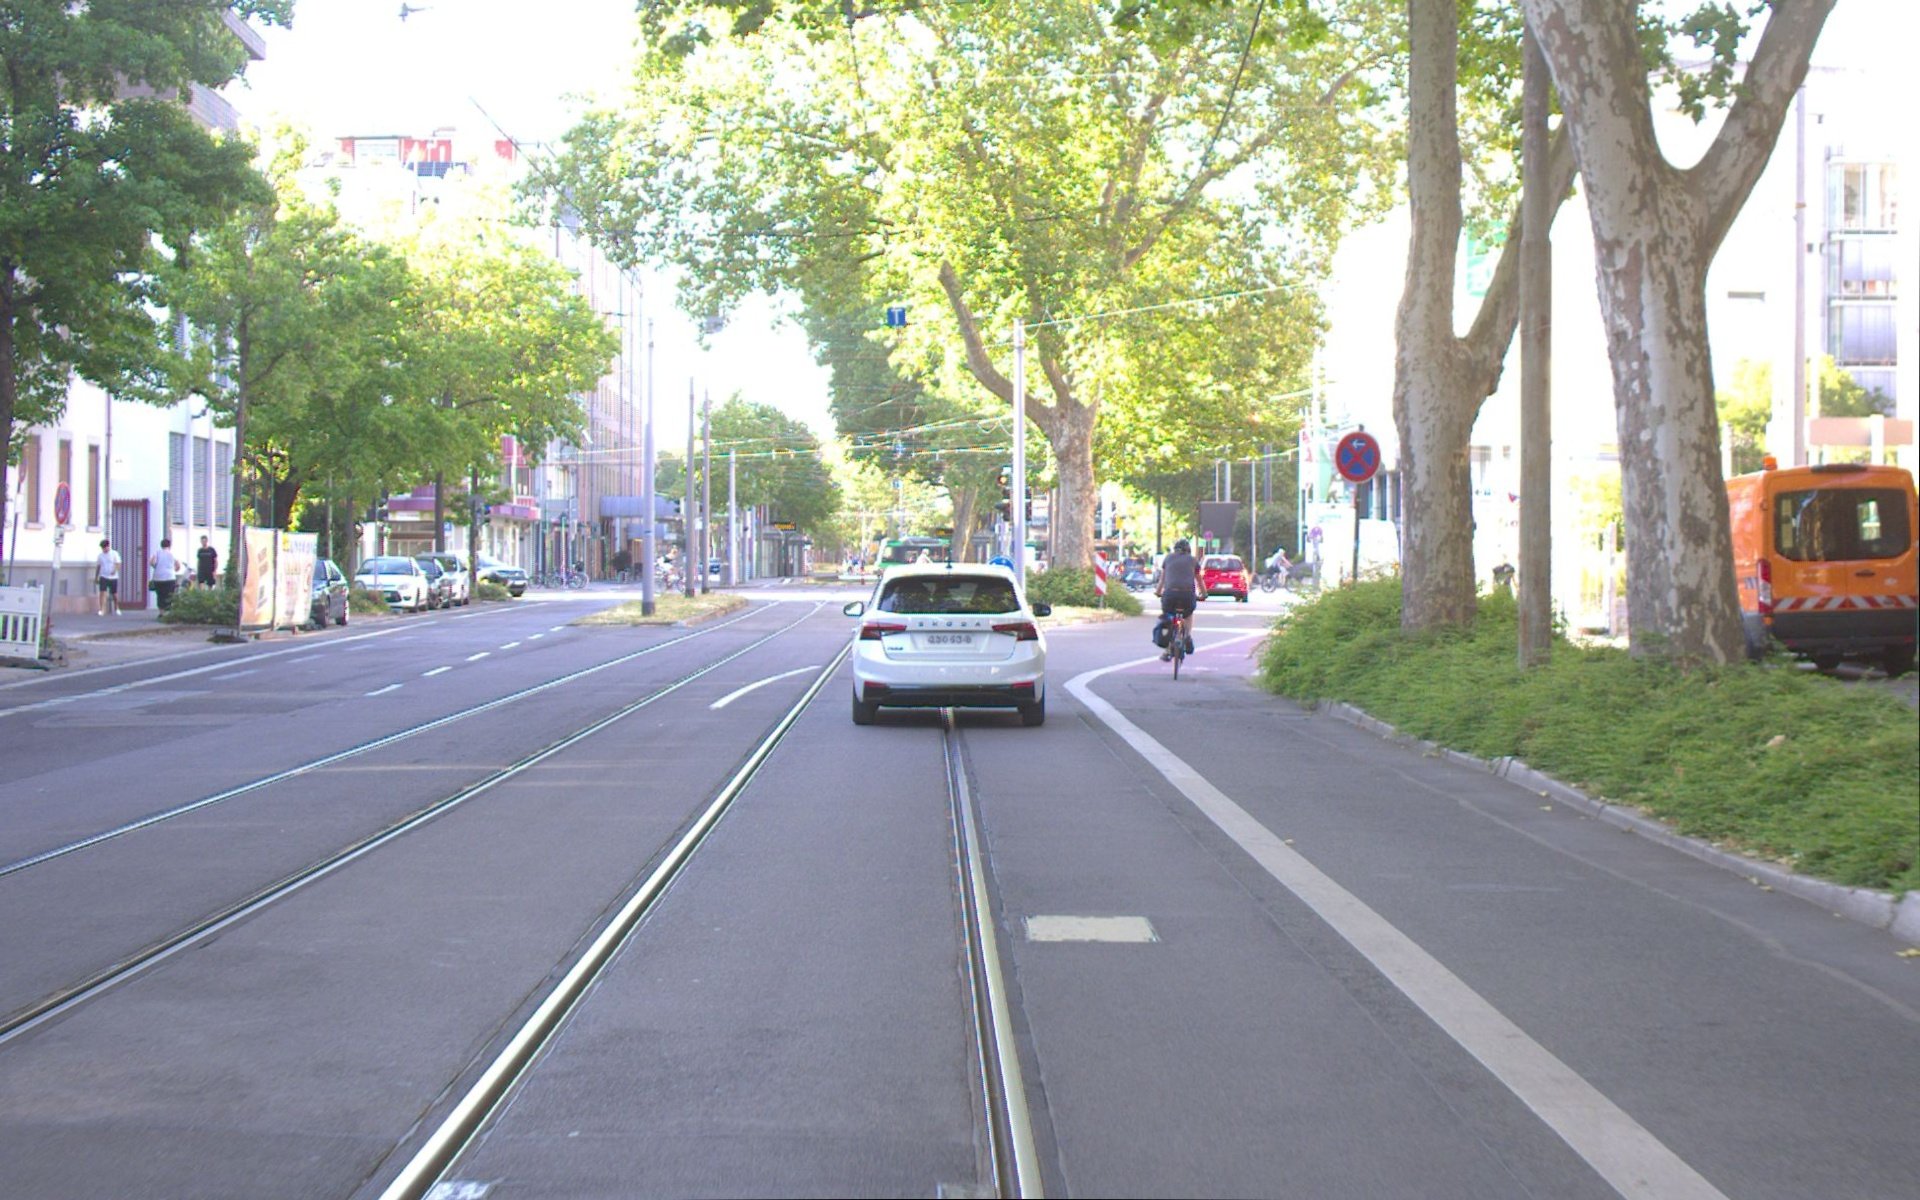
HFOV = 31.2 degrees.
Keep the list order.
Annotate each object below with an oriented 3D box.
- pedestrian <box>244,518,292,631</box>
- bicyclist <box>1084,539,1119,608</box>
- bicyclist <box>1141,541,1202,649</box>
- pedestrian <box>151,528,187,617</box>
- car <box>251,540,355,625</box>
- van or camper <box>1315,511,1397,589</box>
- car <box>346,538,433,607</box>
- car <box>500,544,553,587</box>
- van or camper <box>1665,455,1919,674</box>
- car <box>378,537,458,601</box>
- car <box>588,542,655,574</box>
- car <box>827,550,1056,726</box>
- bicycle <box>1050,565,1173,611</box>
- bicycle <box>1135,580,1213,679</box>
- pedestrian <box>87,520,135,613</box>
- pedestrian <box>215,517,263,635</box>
[{"bbox_3d":[-12.309,-0.454,61.166,0.646,1.996,0.749,1,1,3],"label":"pedestrian"},{"bbox_3d":[3.315,-0.621,80.247,0.737,1.583,0.586,0,1,11],"label":"bicyclist"},{"bbox_3d":[2.654,-0.065,43.209,0.679,1.334,0.525,2,0,-1],"label":"bicyclist"},{"bbox_3d":[-16.074,-0.562,69.868,0.600,1.766,0.701,2,0,-7],"label":"pedestrian"},{"bbox_3d":[-13.942,-0.396,73.121,1.641,1.720,3.785,1,1,-3],"label":"car"},{"bbox_3d":[12.325,-1.565,107.269,1.993,2.335,4.000,2,1,-1],"label":"van or camper"},{"bbox_3d":[-14.881,-0.738,89.882,1.793,1.720,3.785,1,1,-3],"label":"car"},{"bbox_3d":[-15.510,-1.247,123.112,1.634,1.472,3.785,1,1,-3],"label":"car"},{"bbox_3d":[10.141,-0.435,41.894,2.027,2.455,5.108,2,1,1],"label":"van or camper"},{"bbox_3d":[-15.079,-0.873,95.828,1.793,1.720,3.785,1,1,-3],"label":"car"},{"bbox_3d":[-20.757,-2.581,210.670,3.794,1.812,1.803,2,1,5],"label":"car"},{"bbox_3d":[-0.232,0.304,31.386,1.842,1.475,3.839,1,1,-4],"label":"car"},{"bbox_3d":[3.535,-0.275,80.192,2.771,0.996,0.592,2,1,13],"label":"bicycle"},{"bbox_3d":[2.657,0.349,43.014,0.680,1.151,2.964,2,1,-1],"label":"bicycle"},{"bbox_3d":[-18.402,-0.723,74.557,0.748,1.996,0.647,2,1,37],"label":"pedestrian"},{"bbox_3d":[-12.362,-0.411,58.936,0.601,1.996,0.749,1,1,3],"label":"pedestrian"}]
